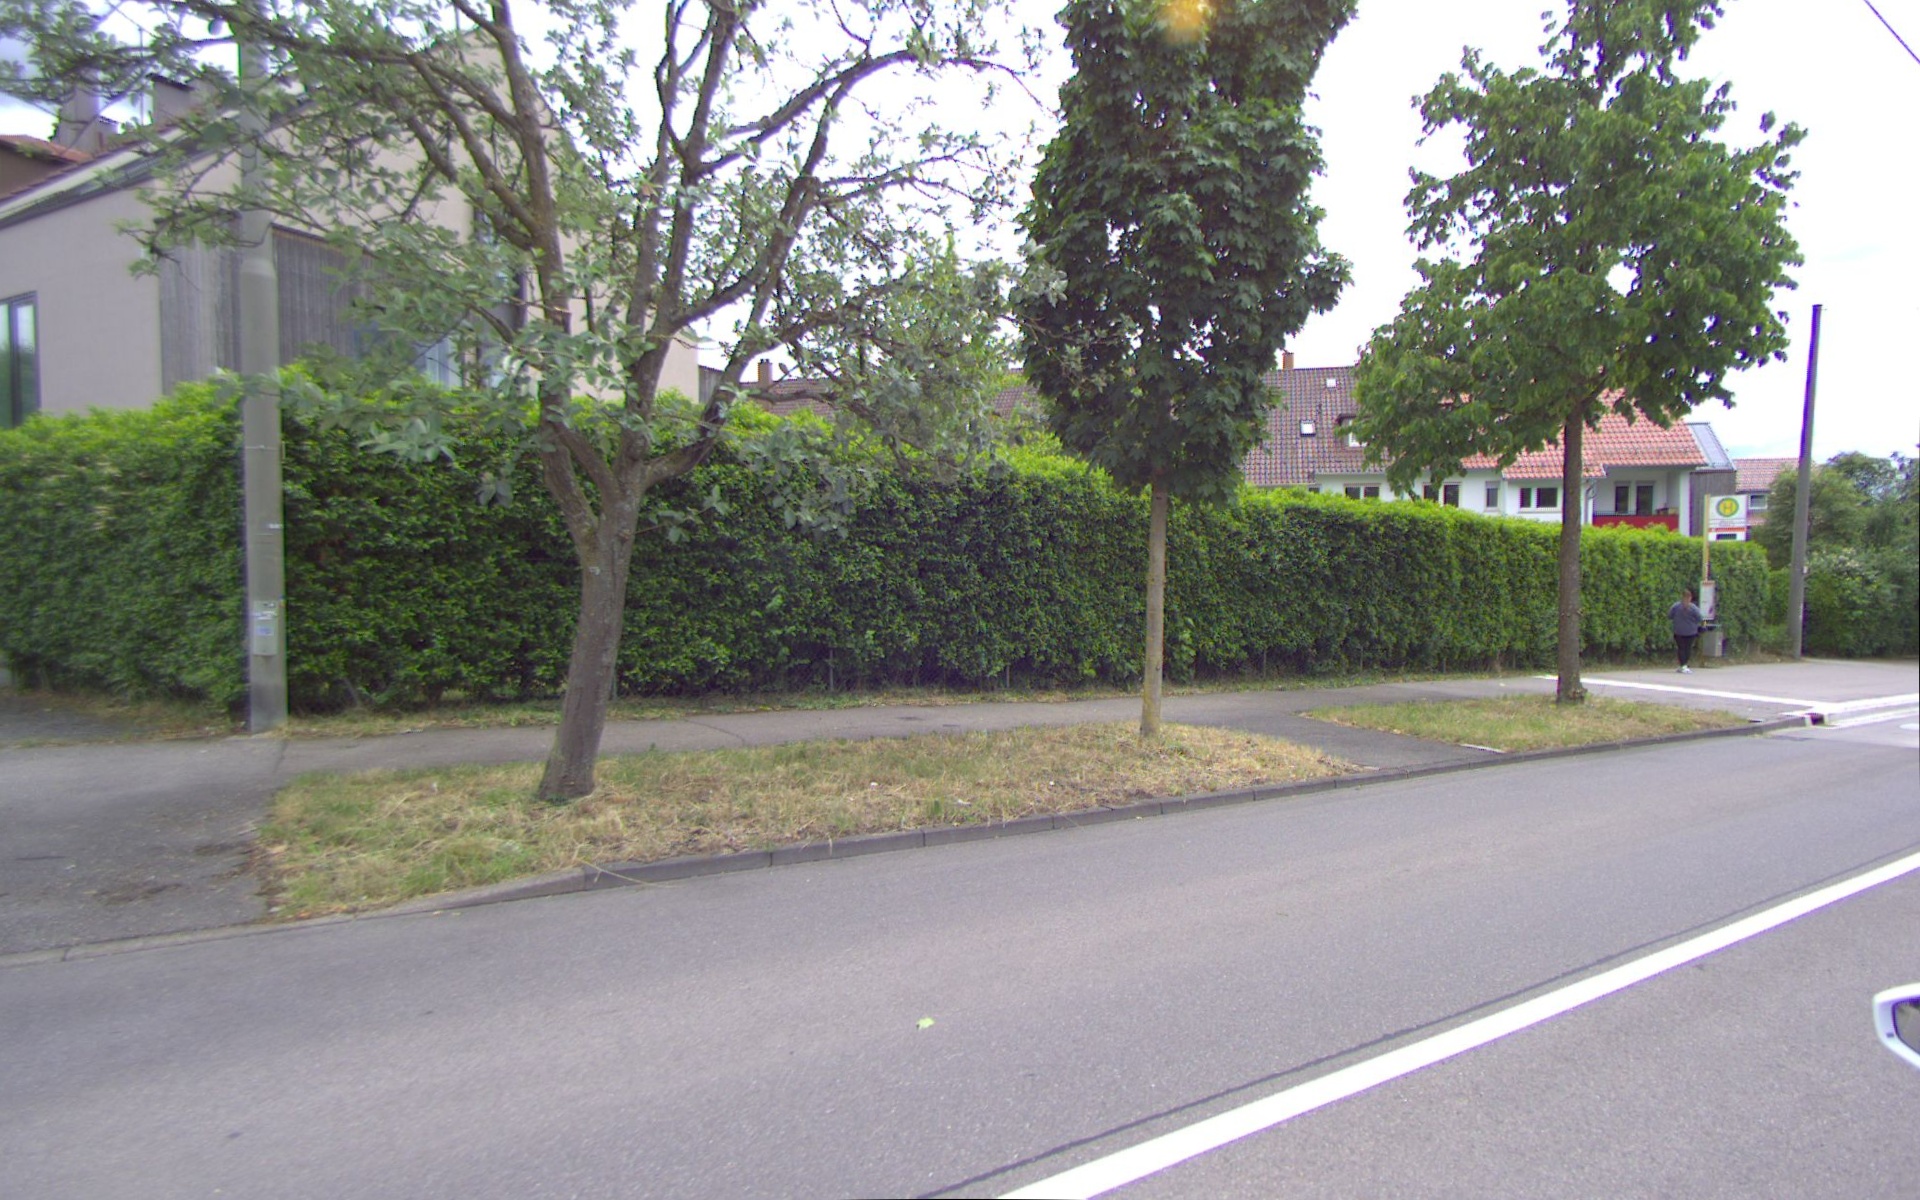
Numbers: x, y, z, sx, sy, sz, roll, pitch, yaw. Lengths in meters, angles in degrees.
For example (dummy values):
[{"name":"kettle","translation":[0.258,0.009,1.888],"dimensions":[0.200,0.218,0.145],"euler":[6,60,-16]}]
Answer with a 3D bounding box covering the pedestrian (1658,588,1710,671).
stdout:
[{"name":"pedestrian","translation":[15.453,0.617,21.434],"dimensions":[0.772,1.734,0.686],"euler":[1,1,-40]}]
